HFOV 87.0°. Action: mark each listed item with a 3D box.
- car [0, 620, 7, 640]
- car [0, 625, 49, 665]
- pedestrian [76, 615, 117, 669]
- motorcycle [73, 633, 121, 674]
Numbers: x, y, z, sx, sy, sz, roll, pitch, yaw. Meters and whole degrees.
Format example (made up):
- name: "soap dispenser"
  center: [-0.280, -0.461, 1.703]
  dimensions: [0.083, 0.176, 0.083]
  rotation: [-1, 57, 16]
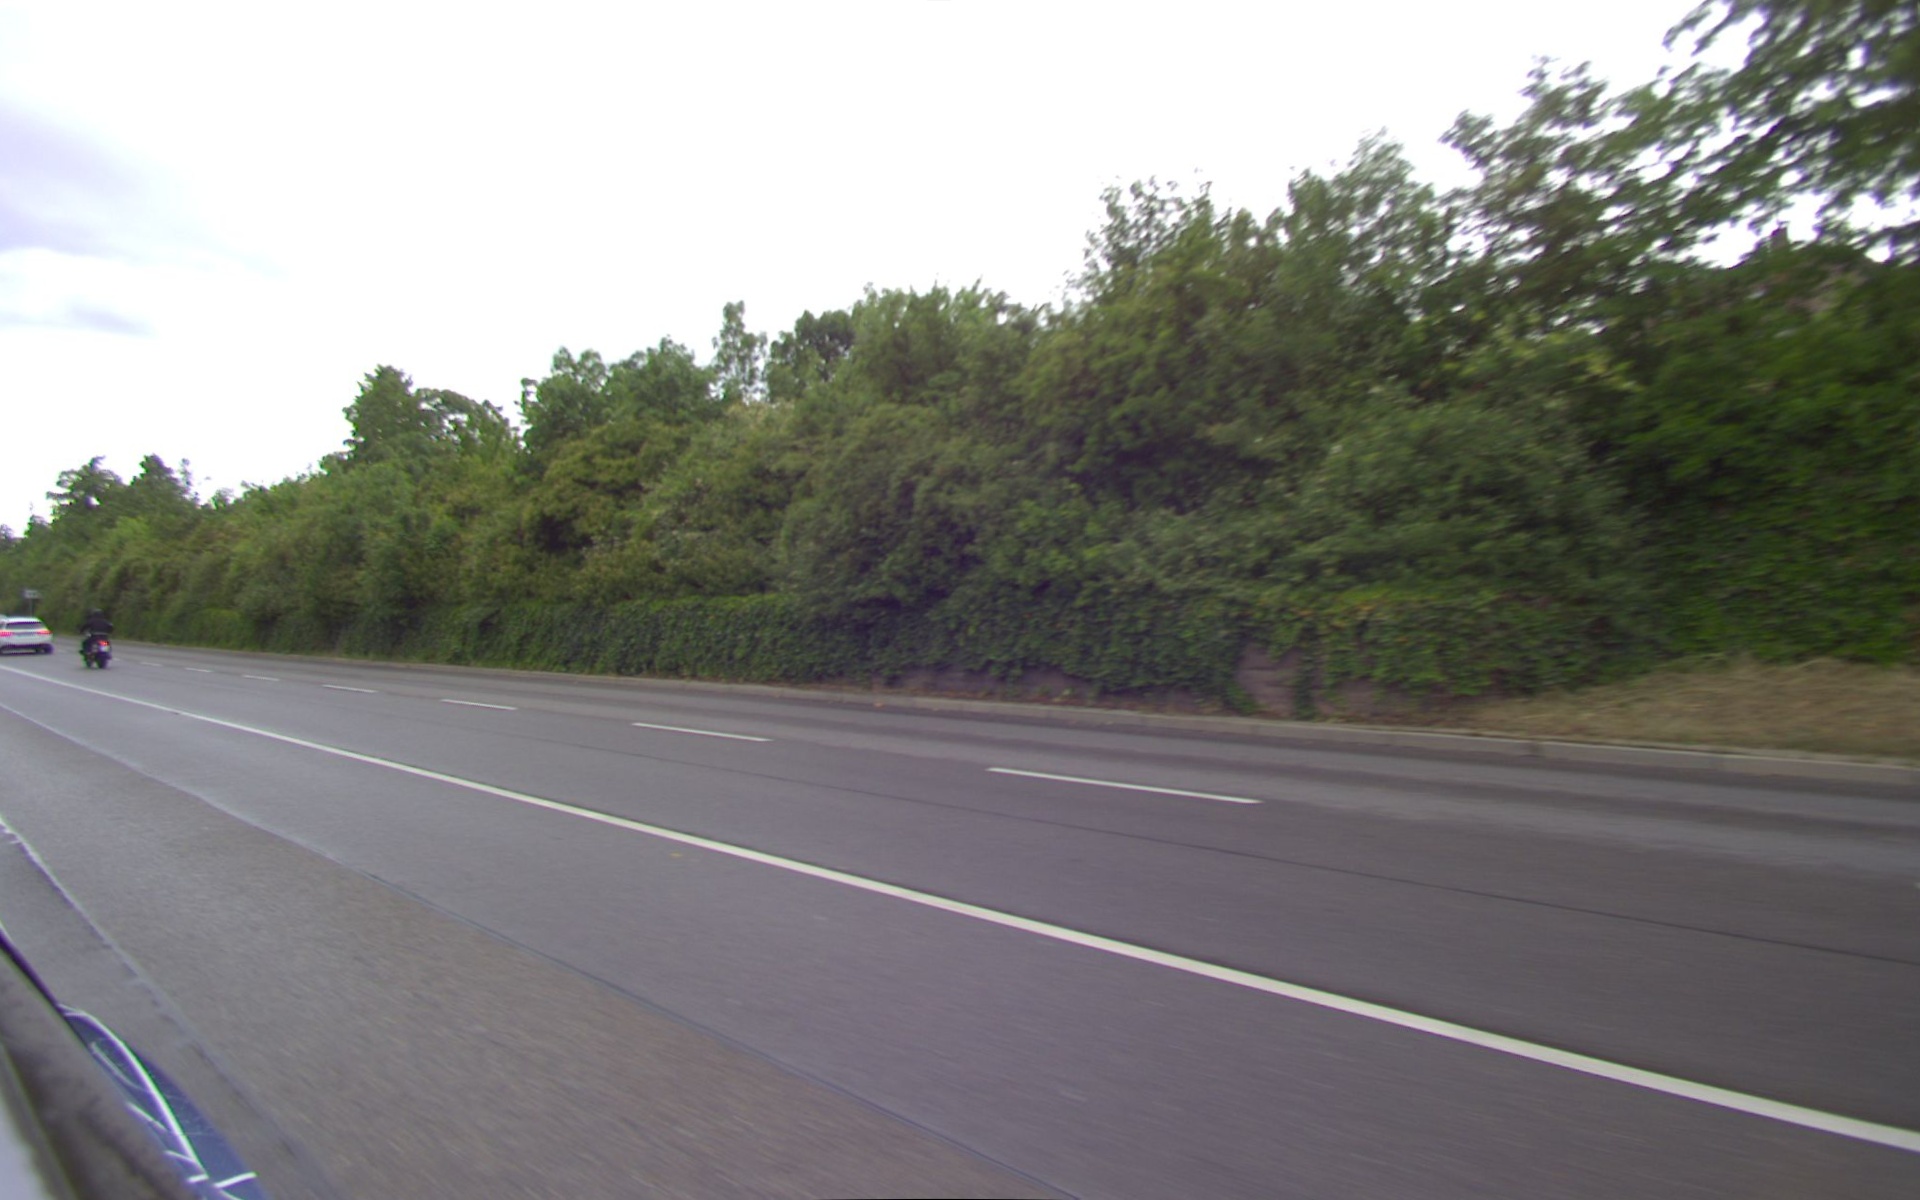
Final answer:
- name: "car"
  center: [-69.377, 2.154, 72.099]
  dimensions: [4.835, 1.391, 1.741]
  rotation: [-2, 0, 41]
- name: "car"
  center: [-38.500, 1.804, 41.129]
  dimensions: [4.514, 1.516, 1.697]
  rotation: [-1, 0, 42]
- name: "pedestrian"
  center: [-25.886, 1.244, 30.333]
  dimensions: [1.111, 1.553, 0.797]
  rotation: [-1, -1, 41]
- name: "motorcycle"
  center: [-25.896, 1.590, 30.341]
  dimensions: [2.230, 1.140, 0.797]
  rotation: [-1, -1, 41]
